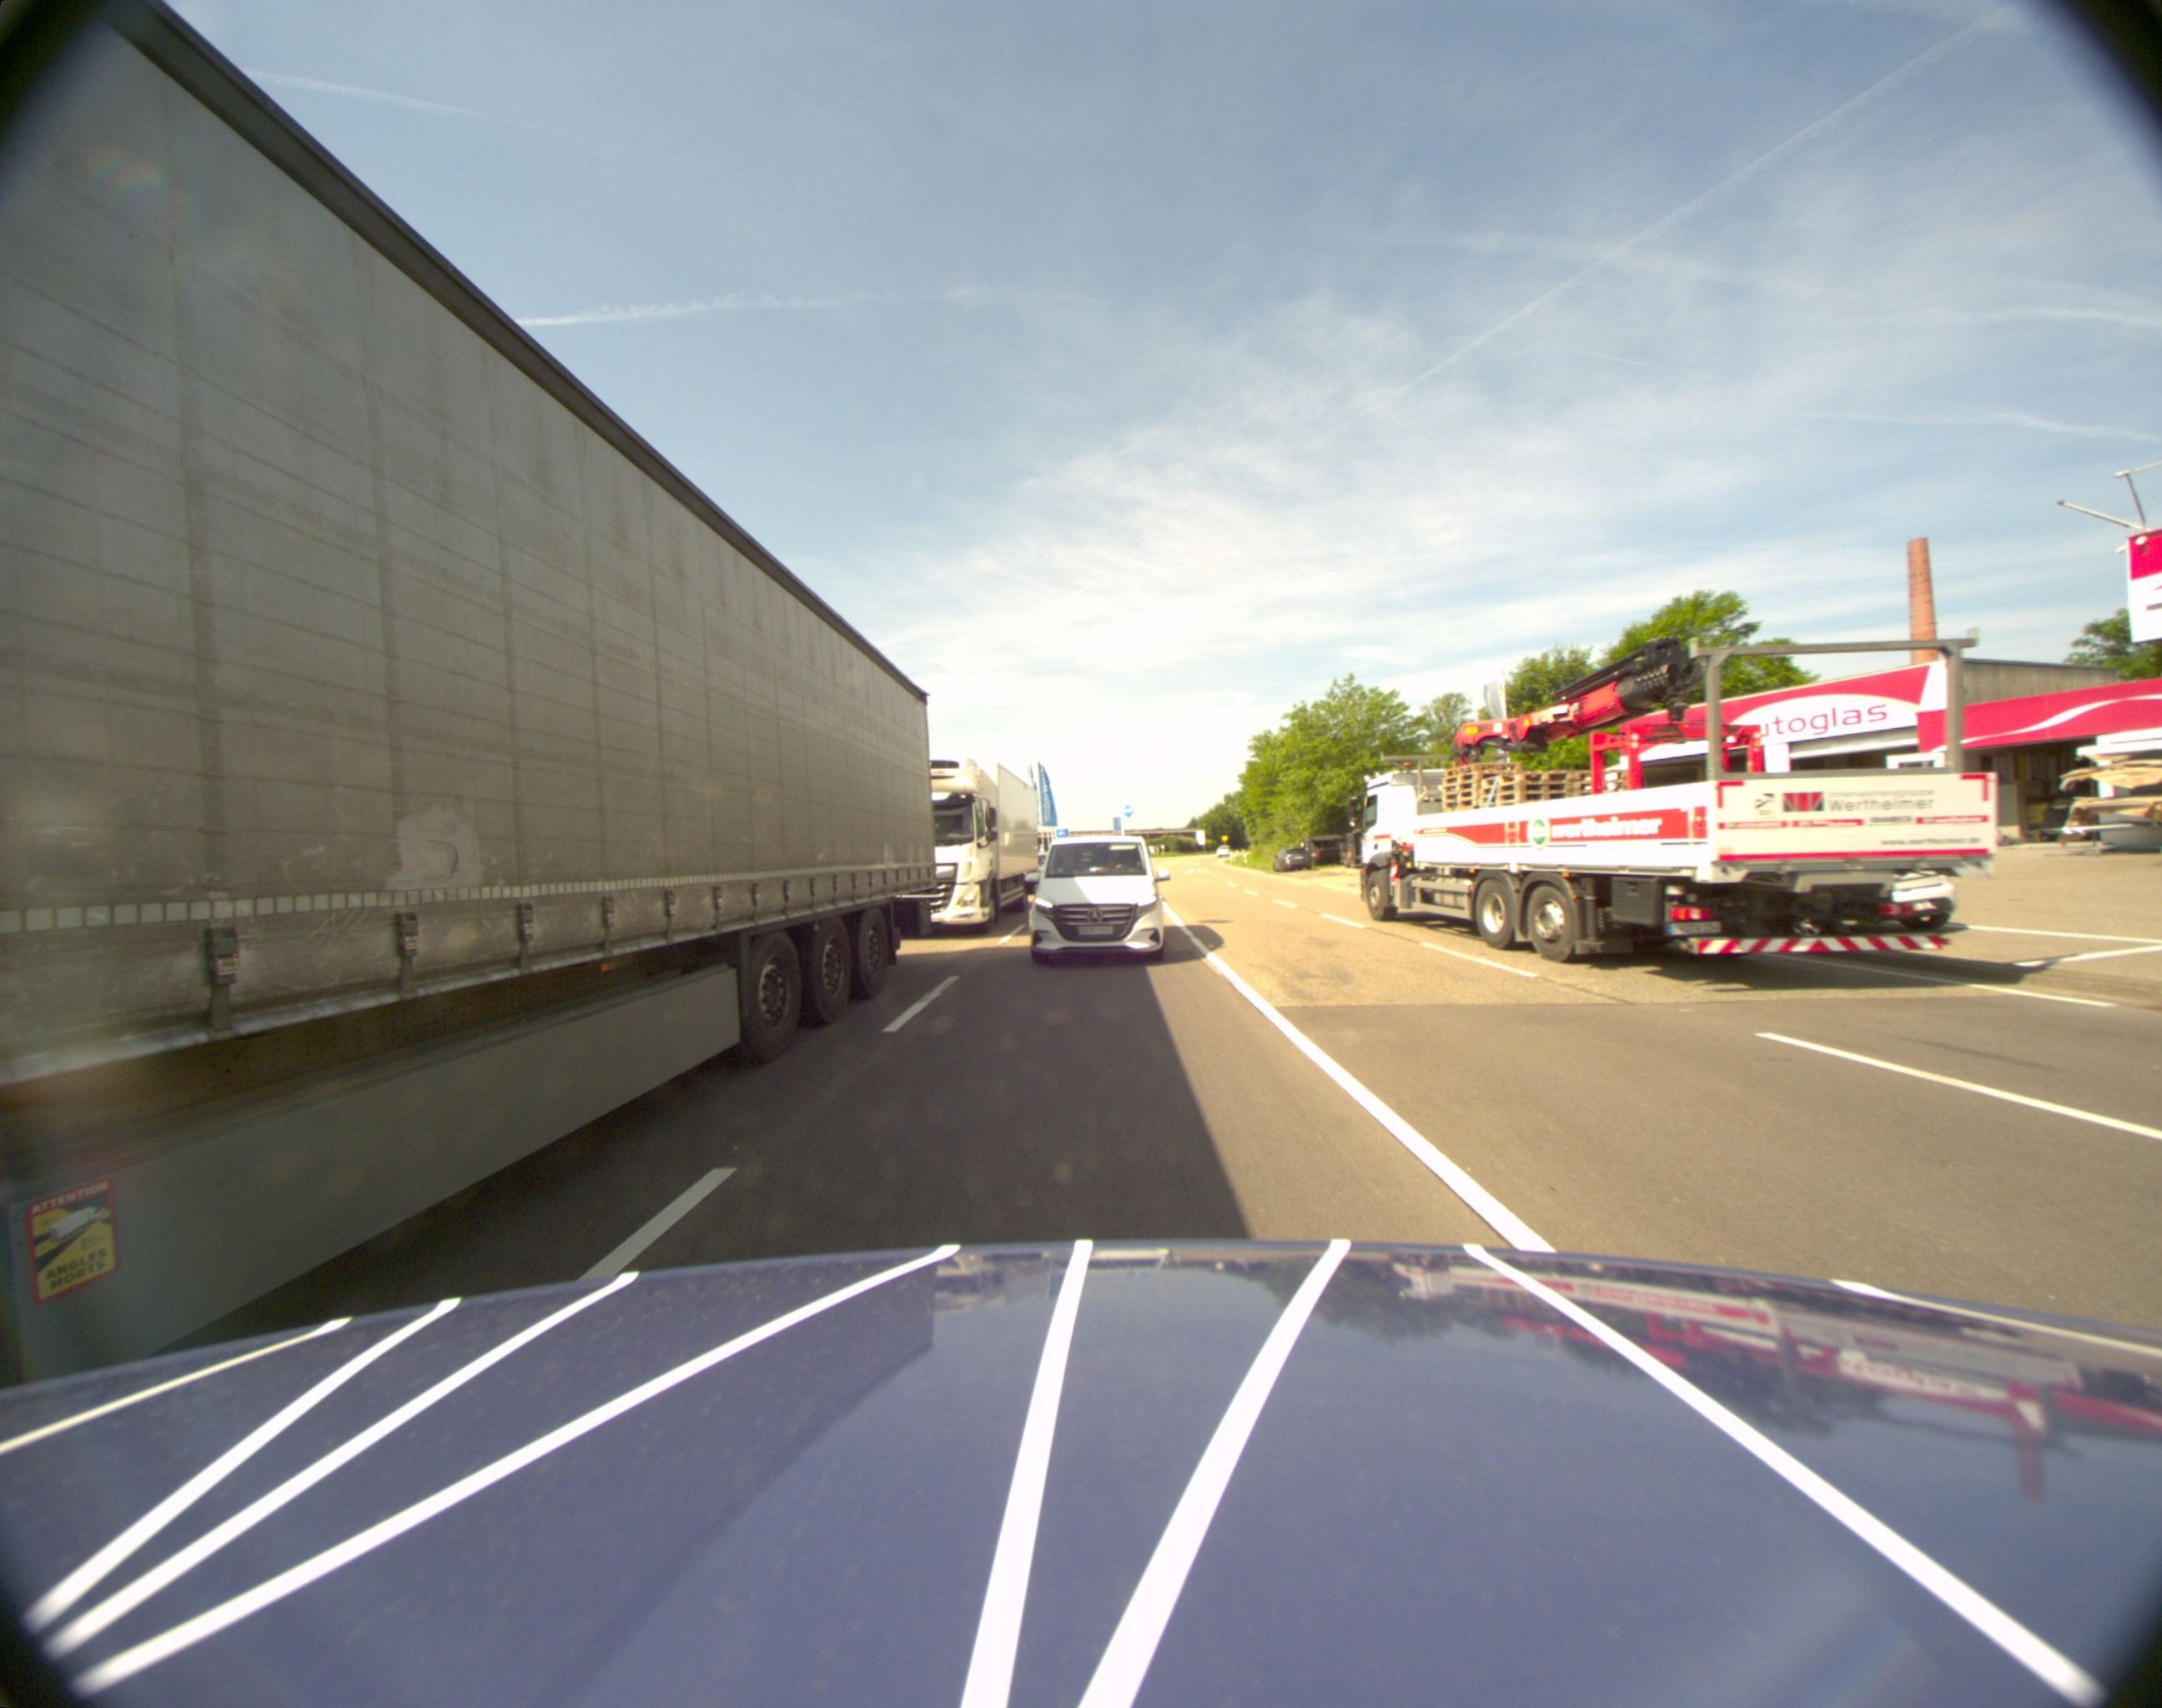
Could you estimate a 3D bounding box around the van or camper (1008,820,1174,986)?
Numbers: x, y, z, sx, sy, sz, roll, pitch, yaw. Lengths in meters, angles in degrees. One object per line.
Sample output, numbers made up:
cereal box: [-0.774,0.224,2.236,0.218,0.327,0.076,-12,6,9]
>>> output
van or camper: [0.223,0.614,12.243,1.998,2.002,5.291,-3,0,2]

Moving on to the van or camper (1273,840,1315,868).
van or camper: [13.119,-0.037,47.070,1.643,1.515,4.468,-4,1,5]

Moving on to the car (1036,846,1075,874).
car: [-1.484,0.331,45.484,1.804,1.563,3.714,-2,1,6]

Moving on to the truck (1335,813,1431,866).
truck: [16.088,-0.746,41.167,2.335,2.283,8.805,-8,0,6]

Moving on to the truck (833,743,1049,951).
truck: [-2.880,-0.166,19.877,2.886,3.789,11.143,-3,0,3]

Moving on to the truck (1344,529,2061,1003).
truck: [7.425,-0.788,12.144,2.963,4.184,10.647,-1,0,2]

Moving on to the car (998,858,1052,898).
car: [-2.293,0.951,32.077,1.739,1.420,4.225,-3,1,2]

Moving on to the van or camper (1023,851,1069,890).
van or camper: [-1.752,0.798,39.610,1.751,1.777,5.133,-3,1,3]

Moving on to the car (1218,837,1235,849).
car: [20.355,-1.536,106.340,1.938,1.665,4.004,-1,1,17]

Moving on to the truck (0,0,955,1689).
truck: [-3.735,-0.332,3.139,2.897,4.241,16.709,-3,0,2]
